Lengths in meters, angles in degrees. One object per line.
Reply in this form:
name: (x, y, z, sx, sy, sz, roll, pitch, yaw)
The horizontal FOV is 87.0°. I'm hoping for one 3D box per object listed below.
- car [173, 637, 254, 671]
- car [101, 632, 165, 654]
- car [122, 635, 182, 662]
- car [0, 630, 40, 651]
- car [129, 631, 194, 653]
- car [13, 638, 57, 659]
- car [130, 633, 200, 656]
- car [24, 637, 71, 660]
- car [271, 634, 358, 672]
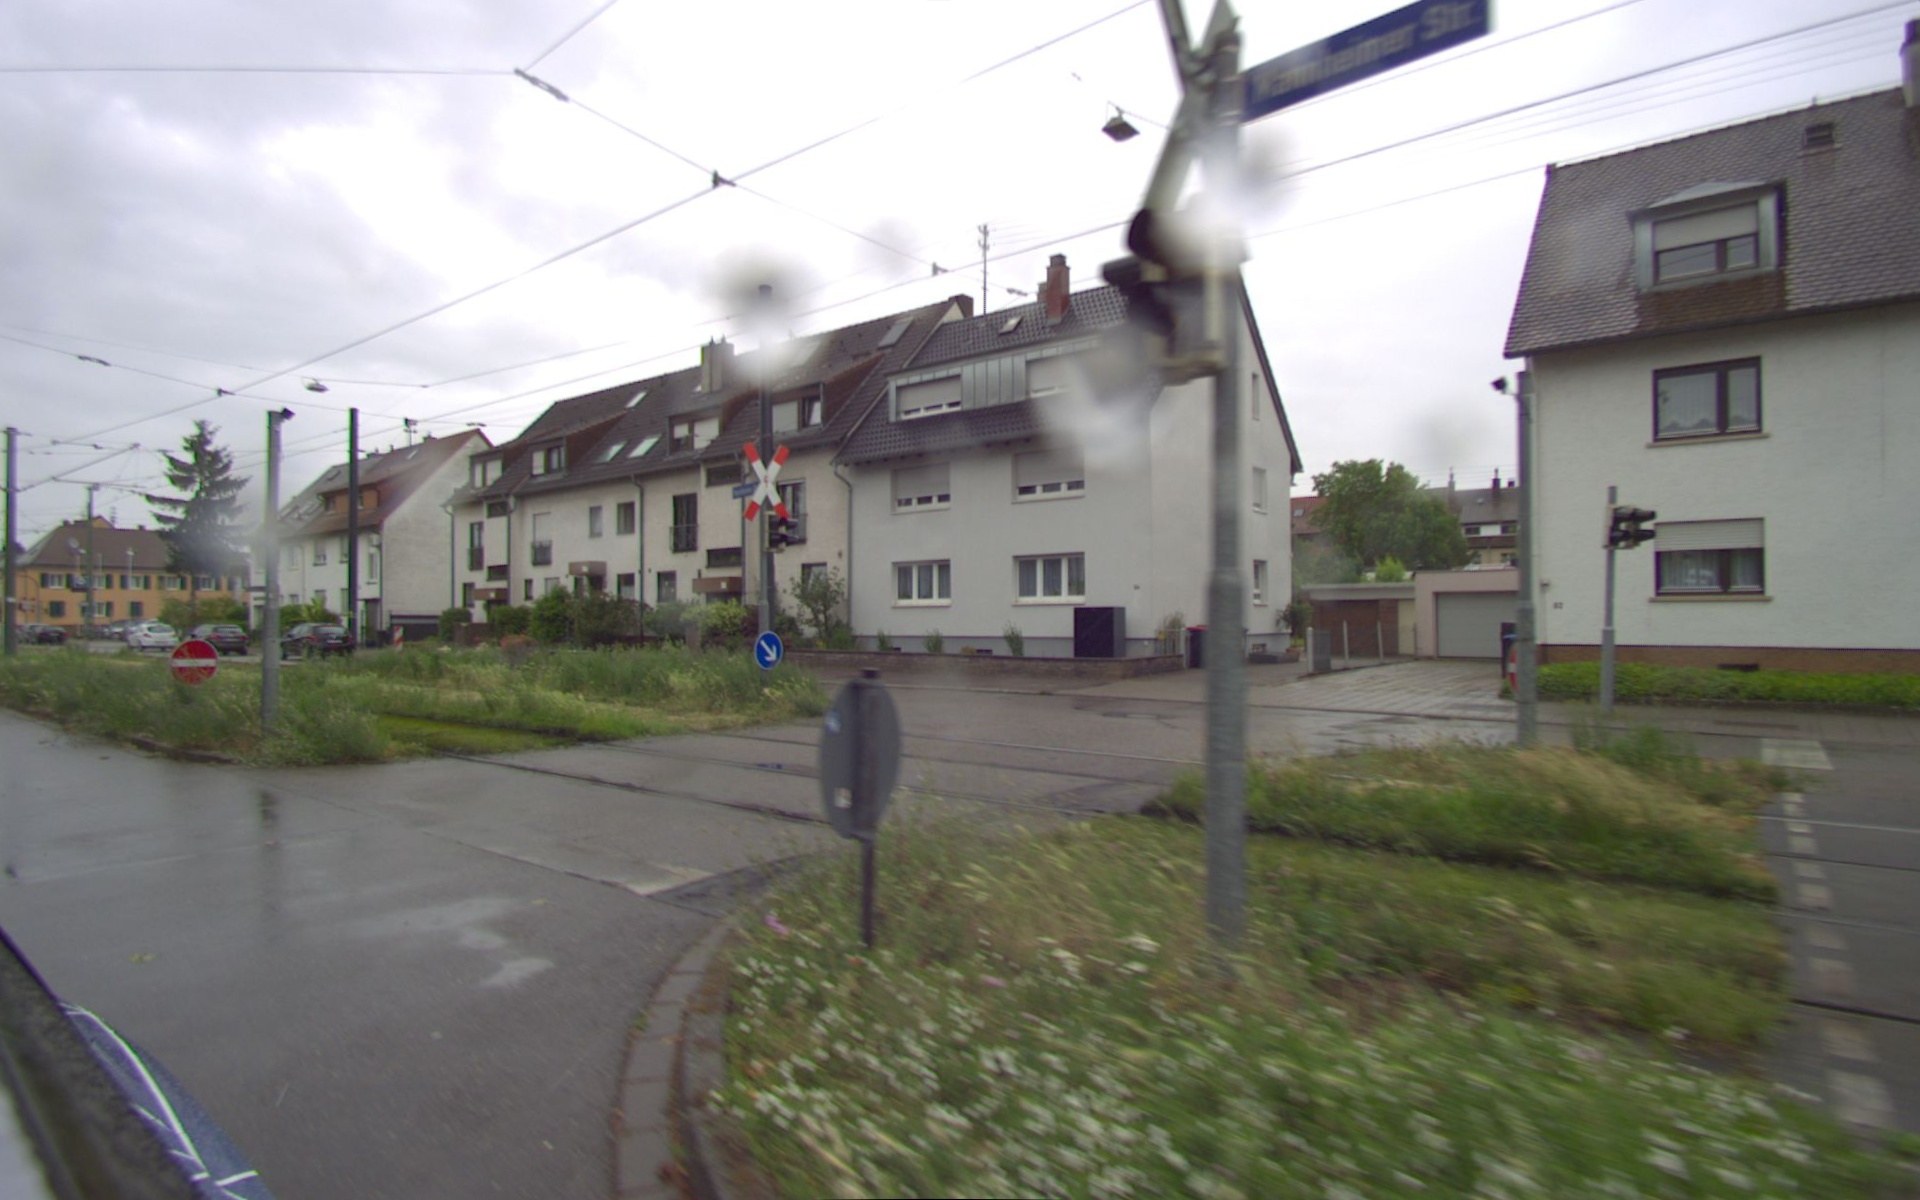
car: (-35.554, 2.536, 48.179, 4.749, 1.543, 1.868, -2, -3, 38)
car: (-66.606, 3.416, 81.600, 3.936, 1.607, 1.917, -1, -1, -38)
car: (-44.164, 2.649, 55.299, 3.994, 1.451, 1.694, -2, -3, 38)
car: (-75.883, 3.254, 81.685, 3.998, 1.670, 1.973, -2, -1, 41)
car: (-63.388, 3.293, 80.354, 3.940, 1.607, 1.915, 0, -1, -44)
car: (-69.235, 3.591, 75.736, 3.995, 1.541, 1.858, -2, -3, 39)
car: (-61.495, 3.409, 78.300, 1.912, 1.607, 3.946, -2, -1, 40)
car: (-65.633, 3.461, 72.755, 3.995, 1.602, 1.888, -2, -3, 39)
car: (-25.713, 2.105, 40.275, 3.933, 1.437, 1.755, -2, -3, 39)
